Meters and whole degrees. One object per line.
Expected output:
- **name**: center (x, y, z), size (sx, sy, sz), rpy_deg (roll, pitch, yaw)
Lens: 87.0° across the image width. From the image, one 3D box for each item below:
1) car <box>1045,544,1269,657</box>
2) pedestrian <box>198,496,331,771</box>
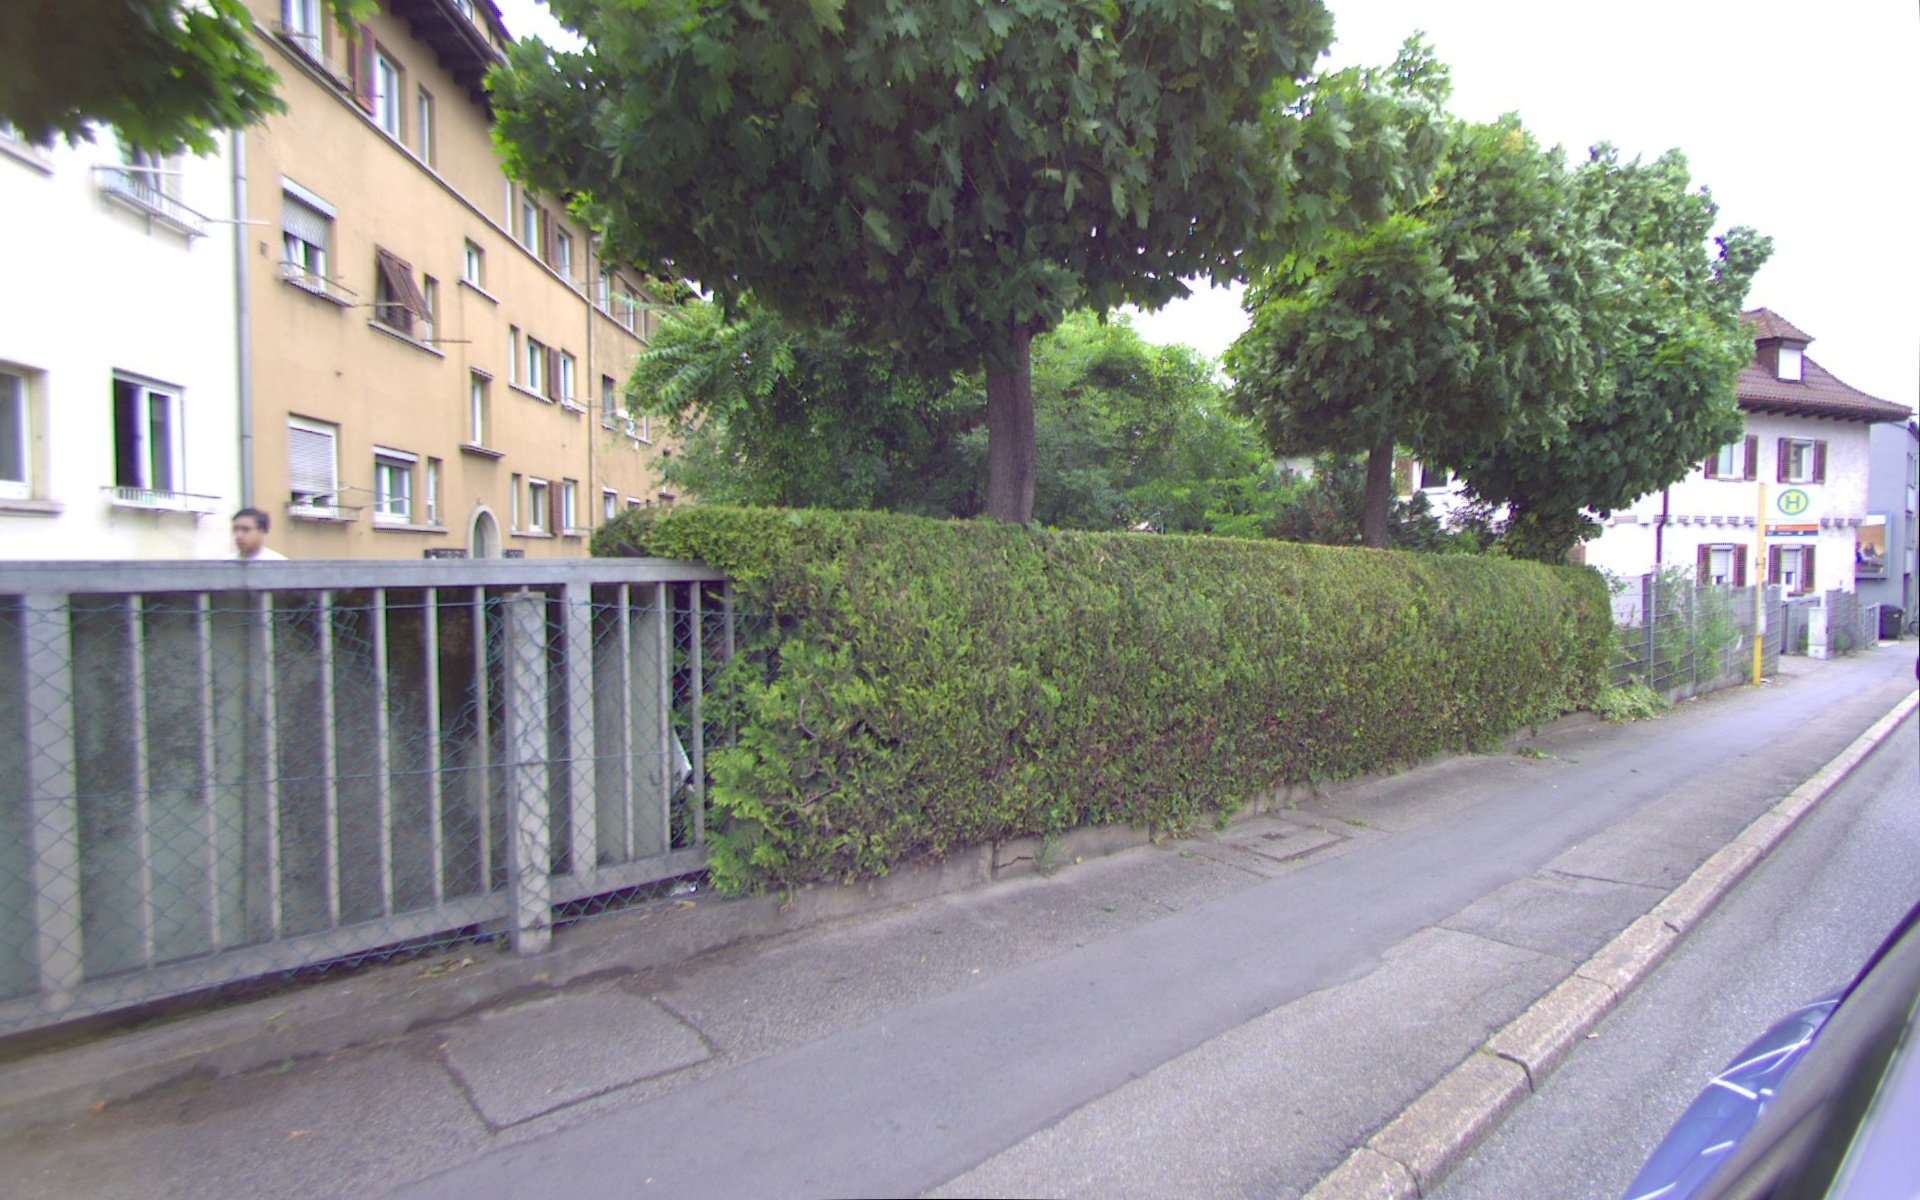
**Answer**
- **car**: center (3.753, -0.010, 19.876), size (3.923, 2.039, 2.001), rpy_deg (1, 1, -1)
- **pedestrian**: center (-4.722, 0.205, 6.878), size (0.684, 1.759, 0.466), rpy_deg (0, 1, -44)
